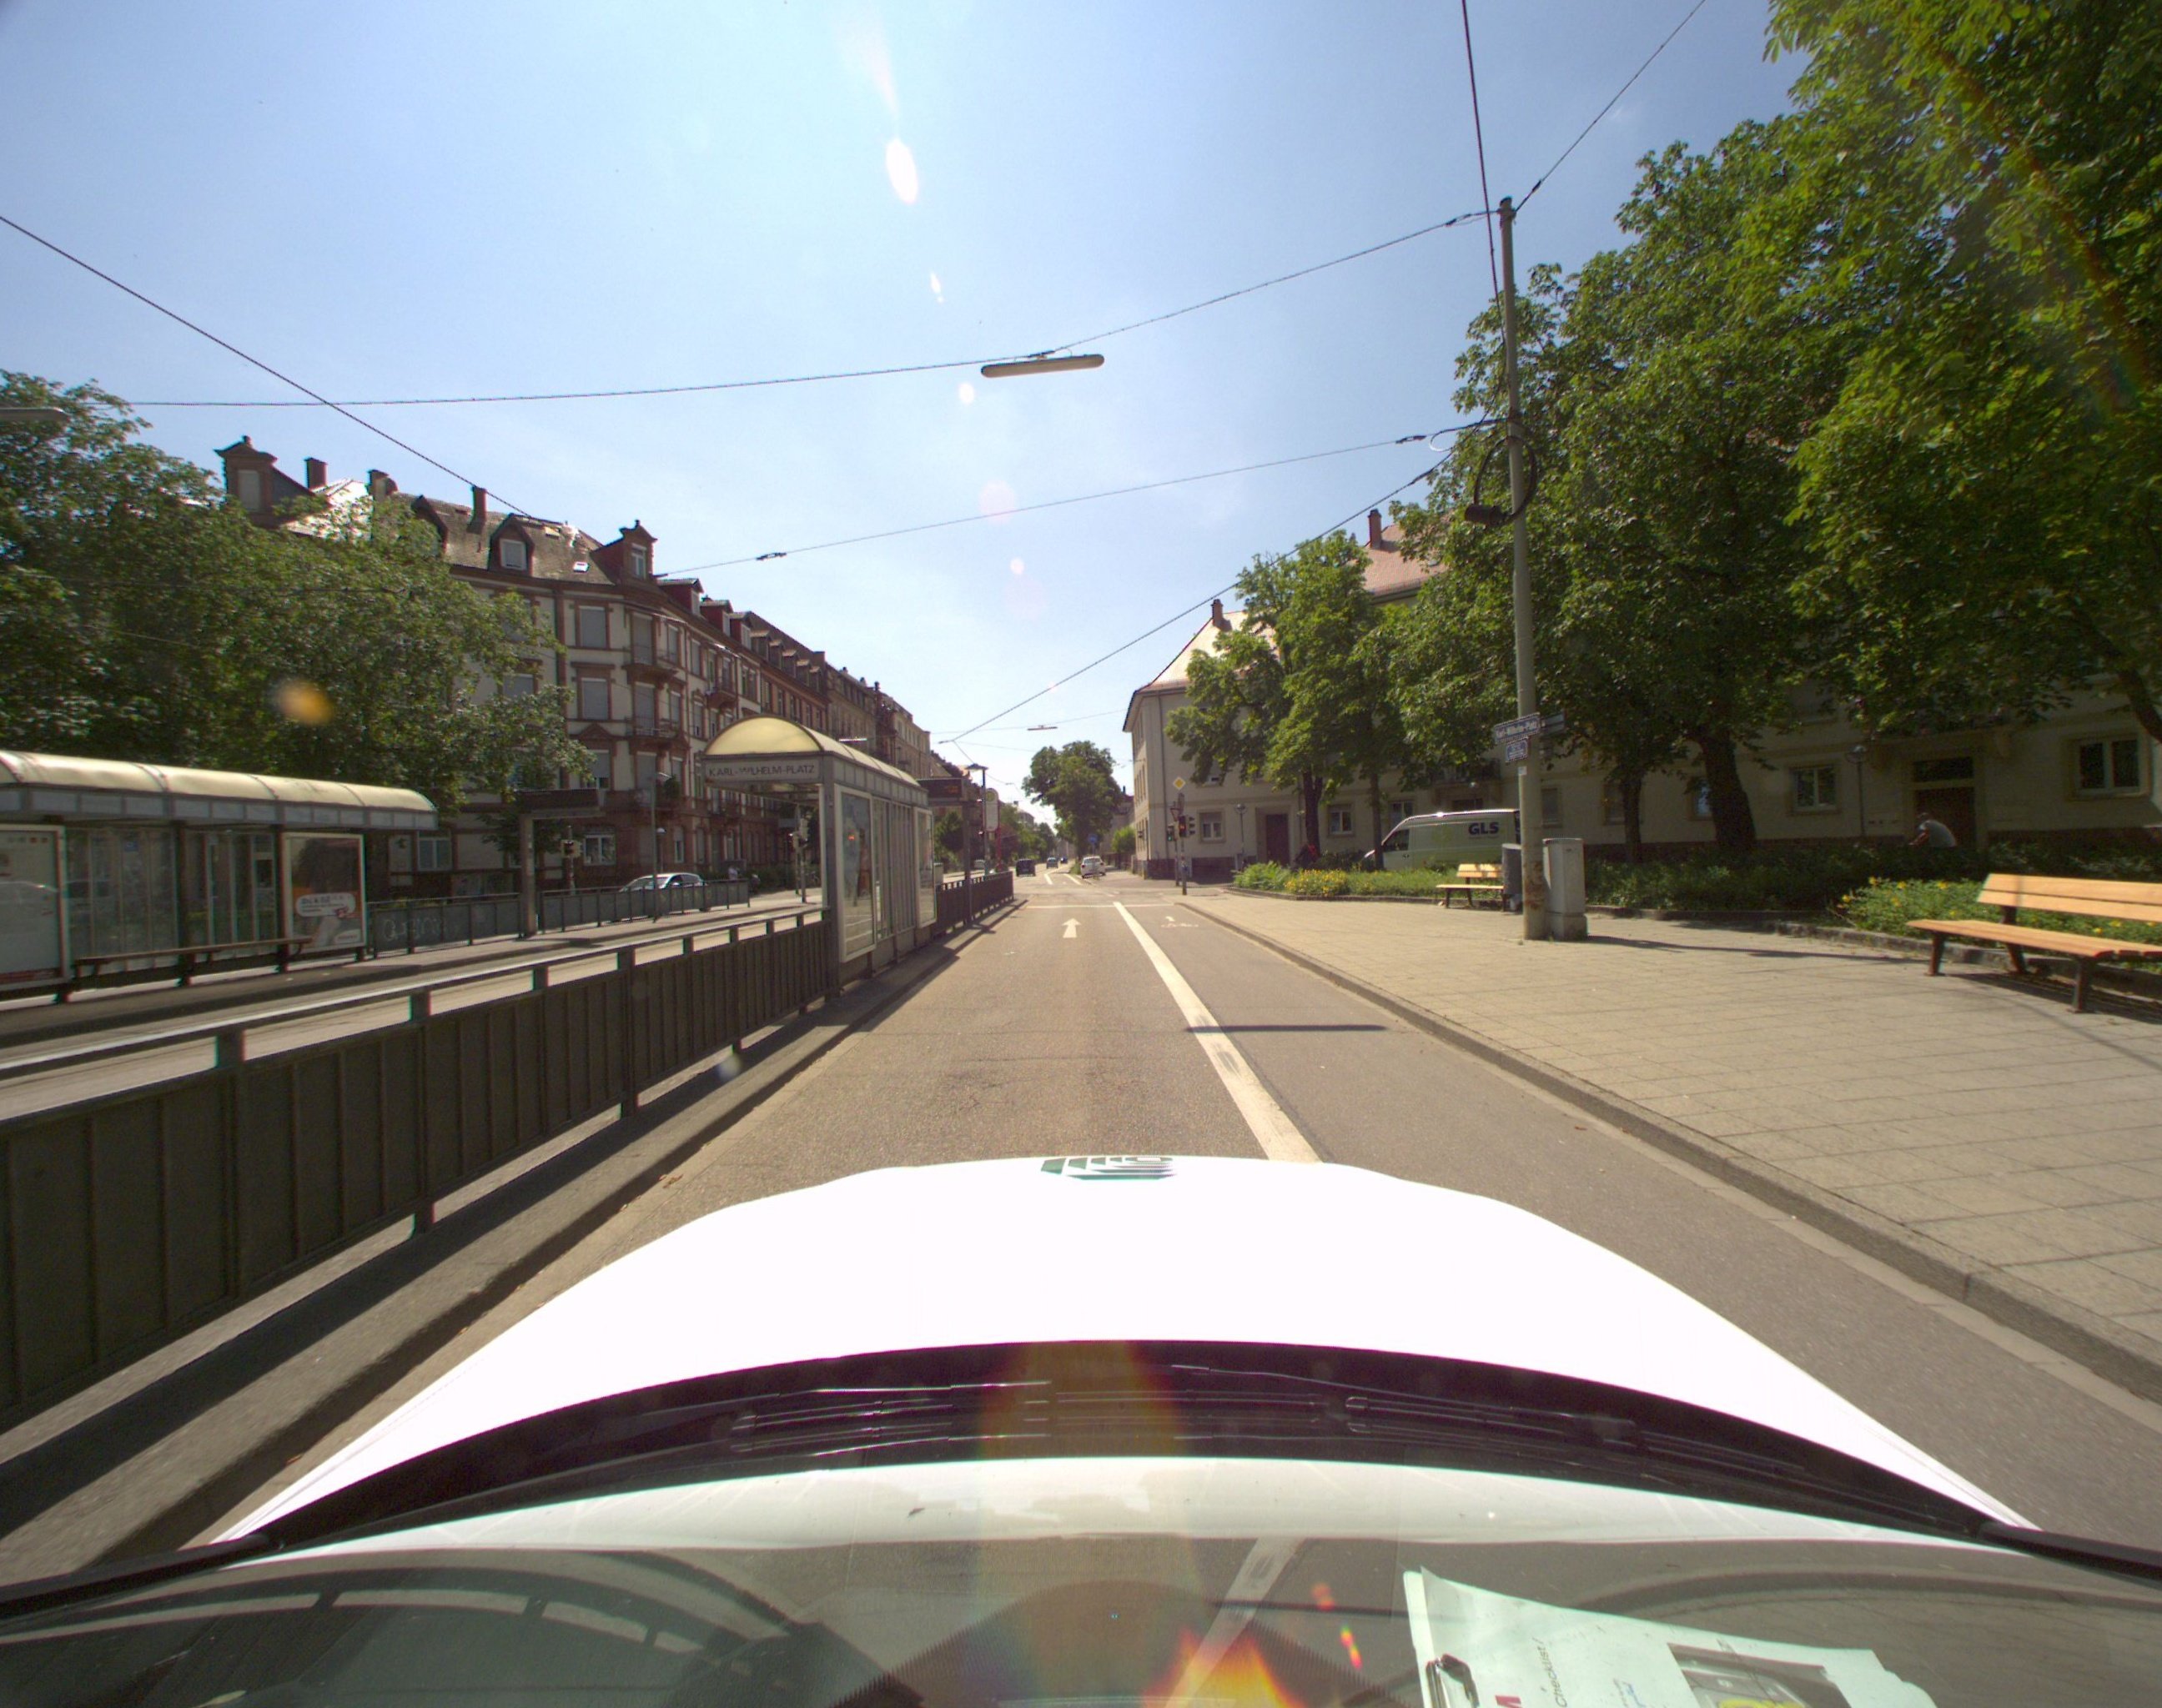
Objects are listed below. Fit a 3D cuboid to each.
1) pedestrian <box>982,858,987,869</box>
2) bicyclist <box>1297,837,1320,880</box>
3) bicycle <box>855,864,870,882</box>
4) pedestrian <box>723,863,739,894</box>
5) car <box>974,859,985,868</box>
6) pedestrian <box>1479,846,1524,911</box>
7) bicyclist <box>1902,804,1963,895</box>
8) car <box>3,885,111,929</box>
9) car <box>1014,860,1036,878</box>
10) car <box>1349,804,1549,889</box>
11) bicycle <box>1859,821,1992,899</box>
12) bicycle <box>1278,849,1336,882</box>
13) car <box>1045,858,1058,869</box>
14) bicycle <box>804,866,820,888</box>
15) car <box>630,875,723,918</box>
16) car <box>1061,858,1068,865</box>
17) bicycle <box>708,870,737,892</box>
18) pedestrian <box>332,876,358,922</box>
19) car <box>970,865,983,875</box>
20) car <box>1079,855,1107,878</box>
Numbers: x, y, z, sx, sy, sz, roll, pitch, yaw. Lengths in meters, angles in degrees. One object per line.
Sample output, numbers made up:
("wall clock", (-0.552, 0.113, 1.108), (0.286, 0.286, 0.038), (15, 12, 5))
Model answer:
("pedestrian", (-14.965, 1.451, 126.274), (0.676, 1.727, 0.677), (-2, -1, -1))
("bicyclist", (8.901, 0.192, 31.878), (0.687, 1.646, 0.584), (-2, -1, 33))
("bicycle", (-16.410, 1.415, 61.103), (0.595, 1.356, 2.419), (-1, -1, -27))
("pedestrian", (-18.759, 1.327, 43.660), (0.657, 1.615, 0.464), (-1, 2, -43))
("car", (-18.093, 1.638, 145.175), (1.625, 1.472, 3.560), (-6, 0, -3))
("pedestrian", (7.458, 0.425, 14.443), (0.507, 1.092, 0.479), (-4, 1, 5))
("bicyclist", (17.192, -0.091, 16.457), (0.599, 1.799, 0.535), (-2, -1, 5))
("car", (-37.190, 1.914, 29.575), (3.696, 1.442, 1.550), (-2, -1, 24))
("car", (-4.788, 1.282, 70.154), (1.520, 1.444, 3.364), (-4, 0, 0))
("car", (12.273, -0.168, 27.585), (2.010, 2.590, 5.781), (-1, -1, -40))
("bicycle", (17.237, 0.125, 16.707), (0.588, 1.485, 2.171), (-2, -1, 6))
("bicycle", (8.851, 0.472, 31.899), (2.060, 1.236, 0.584), (-2, -1, 33))
("car", (-4.253, 1.372, 118.572), (1.742, 1.473, 3.936), (-2, 0, -1))
("bicycle", (-17.068, 1.456, 51.615), (0.618, 1.395, 2.287), (-1, -1, -27))
("car", (-14.504, 1.495, 29.421), (1.536, 1.339, 3.716), (-2, -1, -2))
("car", (-4.058, 1.821, 200.928), (1.625, 1.472, 3.560), (-6, 0, -3))
("bicycle", (-20.156, 1.533, 45.794), (0.360, 1.169, 1.529), (-1, 1, 32))
("pedestrian", (-29.980, 1.834, 33.183), (0.565, 1.825, 0.630), (-1, -1, -22))
("car", (-17.453, 2.606, 136.571), (1.680, 1.472, 3.934), (-6, 0, -3))
("car", (0.845, 0.893, 58.670), (1.742, 1.472, 3.936), (-6, 0, -1))
